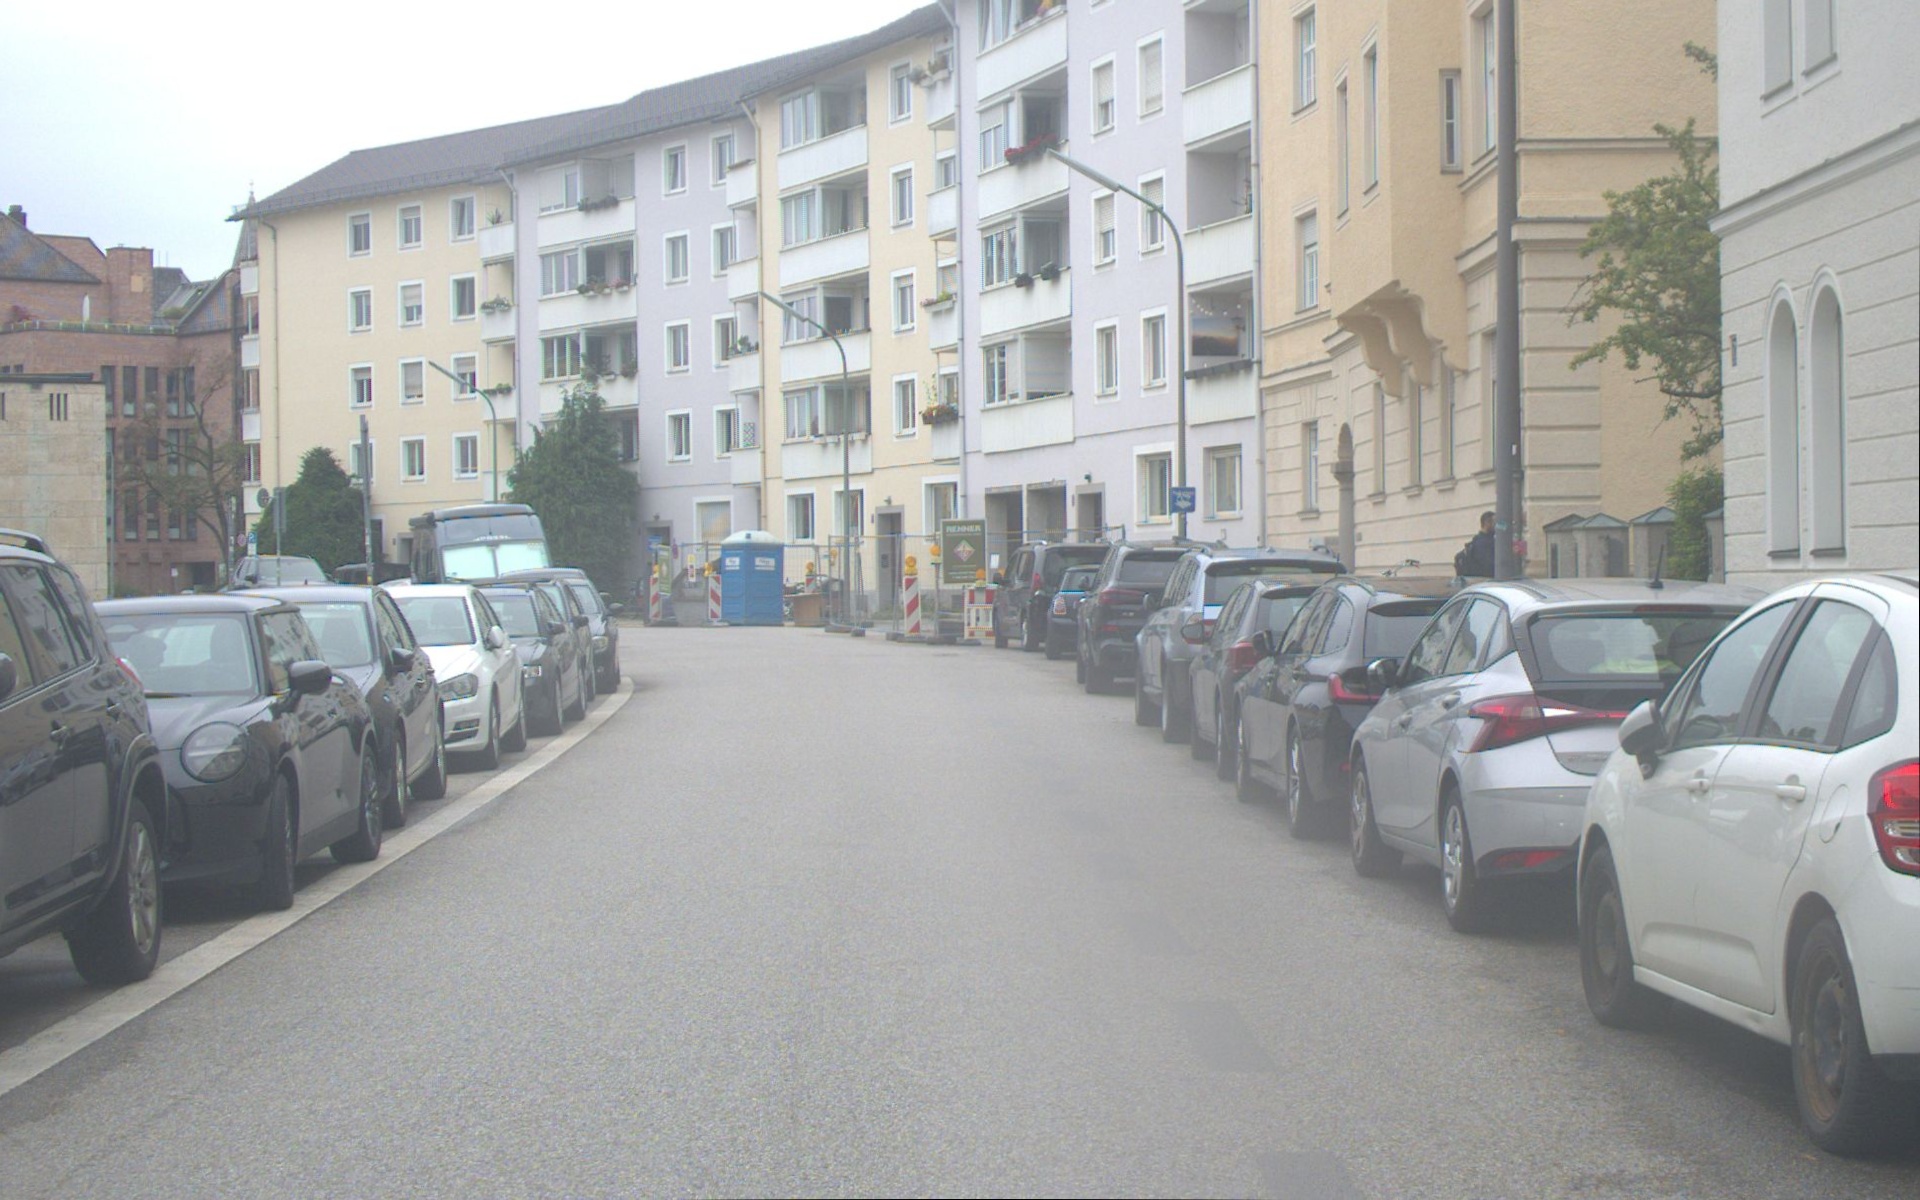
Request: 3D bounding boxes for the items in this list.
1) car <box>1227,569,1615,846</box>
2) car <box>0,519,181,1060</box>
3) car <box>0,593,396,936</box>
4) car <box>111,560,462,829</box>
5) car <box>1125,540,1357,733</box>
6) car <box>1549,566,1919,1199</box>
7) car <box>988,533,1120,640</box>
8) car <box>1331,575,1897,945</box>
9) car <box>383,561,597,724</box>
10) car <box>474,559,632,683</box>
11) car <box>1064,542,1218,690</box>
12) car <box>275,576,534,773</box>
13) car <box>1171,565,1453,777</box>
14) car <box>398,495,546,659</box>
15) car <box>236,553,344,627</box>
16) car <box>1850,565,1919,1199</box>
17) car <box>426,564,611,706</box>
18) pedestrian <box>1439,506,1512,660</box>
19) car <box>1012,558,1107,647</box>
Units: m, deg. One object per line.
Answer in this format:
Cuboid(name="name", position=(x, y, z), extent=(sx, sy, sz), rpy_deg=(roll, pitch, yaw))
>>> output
Cuboid(name="car", position=(2.585, 0.544, 20.205), extent=(1.590, 1.427, 4.421), rpy_deg=(0, 1, -1))
Cuboid(name="car", position=(-3.884, 0.619, 11.344), extent=(1.701, 1.685, 4.028), rpy_deg=(-3, 1, -1))
Cuboid(name="car", position=(-3.862, 0.713, 16.669), extent=(1.623, 1.407, 3.799), rpy_deg=(-3, 0, -1))
Cuboid(name="car", position=(-4.188, 0.539, 21.898), extent=(1.623, 1.503, 3.982), rpy_deg=(-2, 0, -3))
Cuboid(name="car", position=(2.412, 0.275, 30.384), extent=(1.590, 1.577, 4.299), rpy_deg=(0, 1, -1))
Cuboid(name="car", position=(2.897, 0.657, 10.092), extent=(1.599, 1.486, 3.799), rpy_deg=(-1, 1, -1))
Cuboid(name="car", position=(1.530, -0.227, 56.821), extent=(1.601, 1.709, 3.090), rpy_deg=(0, 1, -10))
Cuboid(name="car", position=(2.760, 0.630, 15.356), extent=(1.692, 1.428, 3.945), rpy_deg=(0, 0, -1))
Cuboid(name="car", position=(-4.455, 0.375, 33.068), extent=(1.623, 1.414, 3.982), rpy_deg=(-2, 0, -2))
Cuboid(name="car", position=(-4.985, 0.240, 42.461), extent=(1.623, 1.414, 3.648), rpy_deg=(-2, 0, -2))
Cuboid(name="car", position=(2.068, 0.155, 40.056), extent=(1.474, 1.635, 4.001), rpy_deg=(0, 1, -1))
Cuboid(name="car", position=(-4.399, 0.549, 27.705), extent=(1.623, 1.414, 3.982), rpy_deg=(-2, 0, -3))
Cuboid(name="car", position=(2.511, 0.464, 25.286), extent=(1.590, 1.427, 3.825), rpy_deg=(0, 1, -1))
Cuboid(name="car", position=(-8.245, -0.412, 57.811), extent=(1.770, 2.645, 4.001), rpy_deg=(0, 1, -18))
Cuboid(name="car", position=(-15.639, -0.237, 80.167), extent=(1.599, 1.643, 3.141), rpy_deg=(2, 0, -28))
Cuboid(name="car", position=(2.825, 0.692, 5.293), extent=(1.692, 1.486, 4.283), rpy_deg=(-1, 1, -1))
Cuboid(name="car", position=(-4.772, 0.351, 37.590), extent=(1.623, 1.414, 3.982), rpy_deg=(-2, 0, -2))
Cuboid(name="pedestrian", position=(5.716, -0.184, 38.168), extent=(0.667, 1.687, 0.690), rpy_deg=(1, 0, 0))
Cuboid(name="car", position=(1.473, 0.034, 51.722), extent=(1.272, 1.294, 2.797), rpy_deg=(0, 0, -1))
